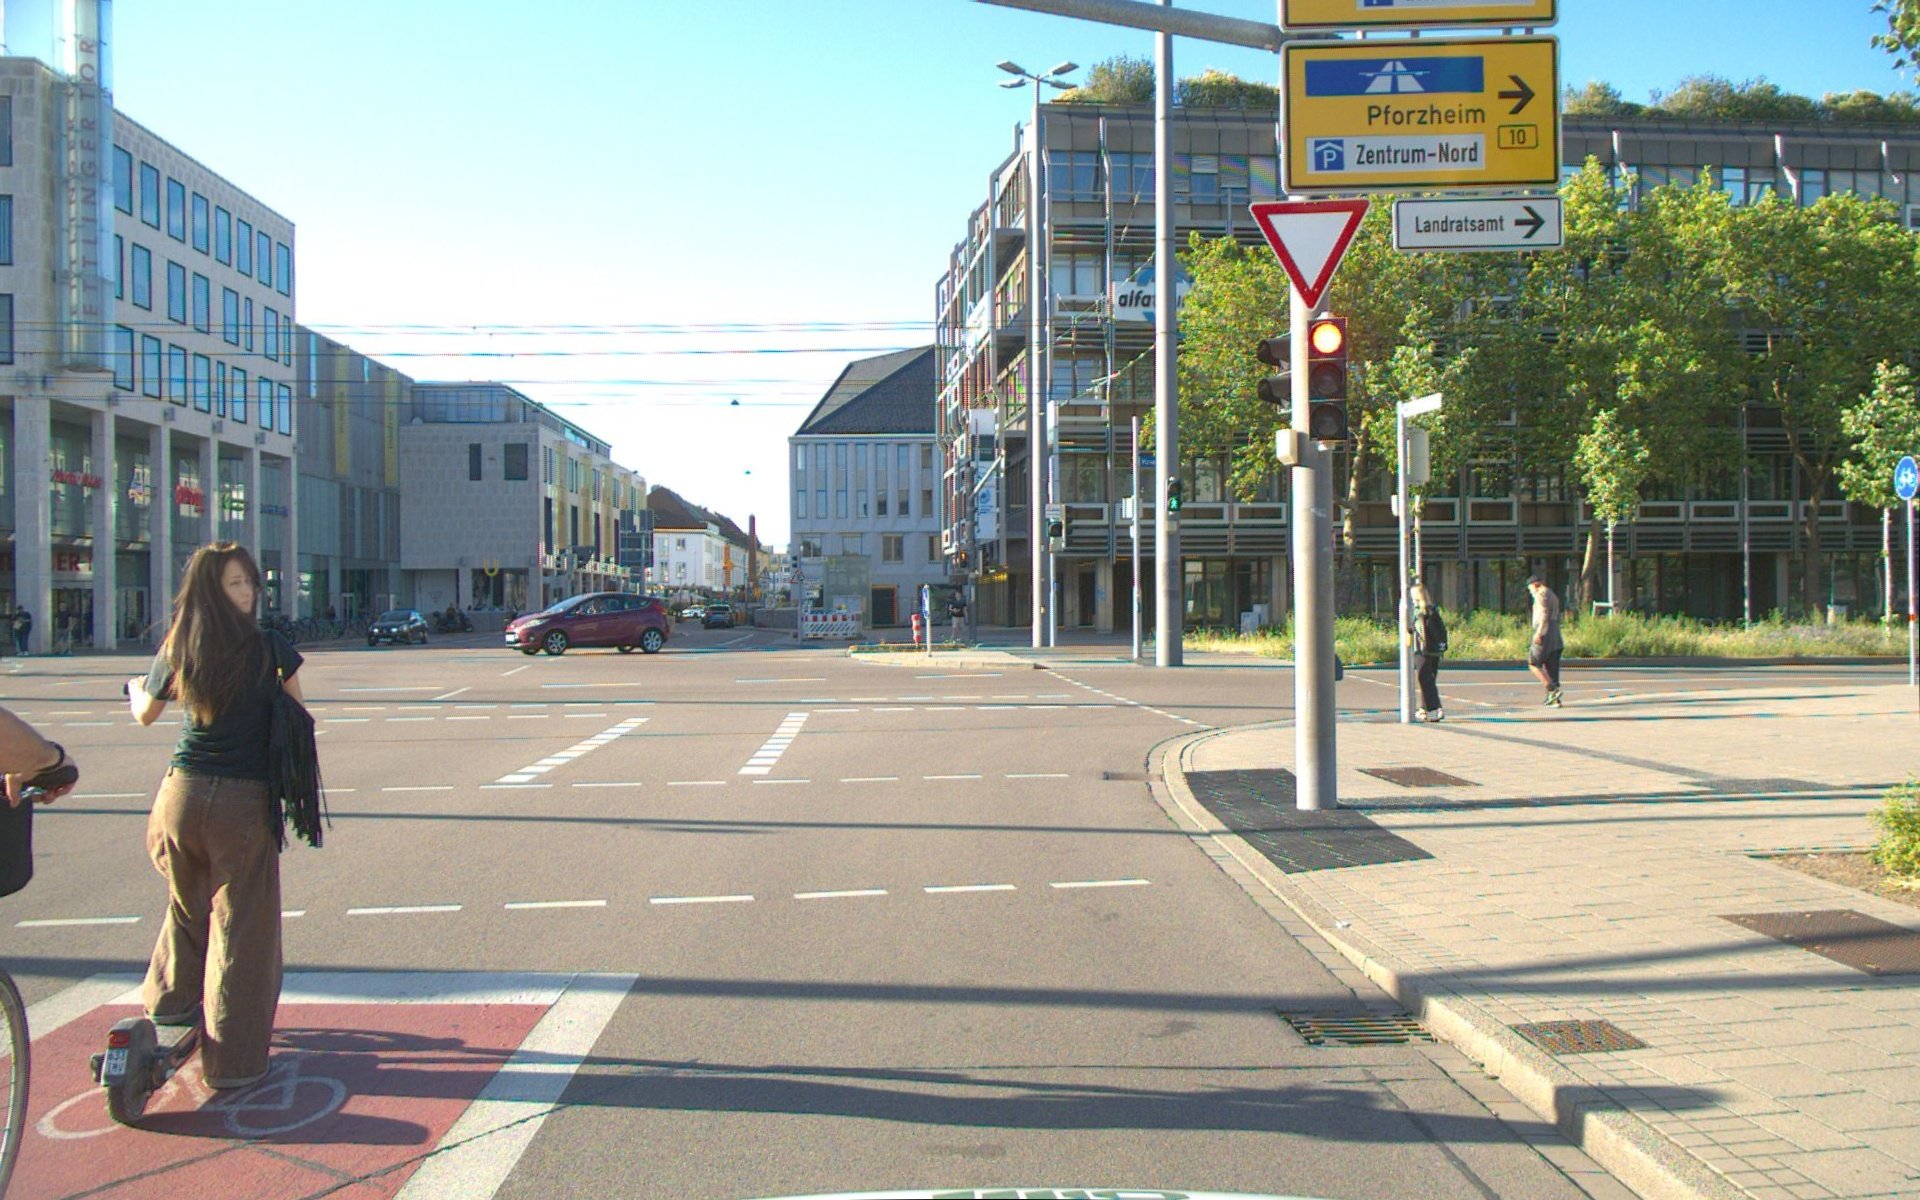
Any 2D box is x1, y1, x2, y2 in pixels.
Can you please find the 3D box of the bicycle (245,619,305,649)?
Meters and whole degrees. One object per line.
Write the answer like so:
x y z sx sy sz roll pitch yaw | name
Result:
-29.291 1.437 70.756 2.260 1.244 0.611 0 0 -3 | bicycle

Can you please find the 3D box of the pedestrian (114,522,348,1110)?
-2.190 0.615 5.026 0.540 1.661 0.569 1 -1 -16 | pedestrian

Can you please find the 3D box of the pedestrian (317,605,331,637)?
-33.814 1.126 87.935 0.560 1.709 0.614 1 0 -10 | pedestrian

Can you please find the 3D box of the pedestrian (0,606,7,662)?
-33.142 1.151 56.739 0.706 1.918 0.780 1 -1 -28 | pedestrian

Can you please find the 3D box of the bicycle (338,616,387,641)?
-30.816 1.473 85.337 2.260 1.244 0.611 0 0 -3 | bicycle

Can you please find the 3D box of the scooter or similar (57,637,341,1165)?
-2.180 0.783 4.859 0.538 1.316 1.189 1 0 -15 | scooter or similar

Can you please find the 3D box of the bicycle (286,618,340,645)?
-30.065 1.450 76.848 2.260 1.244 0.611 0 0 -3 | bicycle

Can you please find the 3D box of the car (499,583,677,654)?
-8.867 0.415 39.538 3.854 1.613 1.638 0 0 -36 | car

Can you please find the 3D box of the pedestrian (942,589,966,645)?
-0.204 0.578 57.296 0.772 1.923 0.644 1 -1 -1 | pedestrian

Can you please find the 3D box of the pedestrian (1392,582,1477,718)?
5.440 0.563 18.992 0.772 1.518 0.644 1 -1 -1 | pedestrian

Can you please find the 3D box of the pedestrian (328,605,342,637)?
-33.316 1.123 88.161 0.544 1.709 0.606 1 0 -11 | pedestrian

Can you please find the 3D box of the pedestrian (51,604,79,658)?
-31.172 1.070 57.603 0.788 1.876 0.854 0 0 -33 | pedestrian

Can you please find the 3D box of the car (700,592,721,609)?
-24.837 0.084 165.010 1.762 1.686 3.996 1 0 -5 | car

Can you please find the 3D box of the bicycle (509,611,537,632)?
-26.172 1.293 98.980 0.500 1.228 1.808 1 0 28 | bicycle

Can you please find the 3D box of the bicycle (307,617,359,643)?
-30.334 1.459 80.050 2.260 1.244 0.611 0 0 -3 | bicycle

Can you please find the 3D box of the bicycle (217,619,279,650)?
-29.334 1.425 68.116 2.260 1.244 0.611 0 0 -3 | bicycle

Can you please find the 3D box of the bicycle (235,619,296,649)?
-29.127 1.434 69.402 2.260 1.244 0.611 0 0 -3 | bicycle

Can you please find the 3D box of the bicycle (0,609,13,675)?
-17.641 0.738 29.109 1.634 1.175 0.490 1 -1 -39 | bicycle

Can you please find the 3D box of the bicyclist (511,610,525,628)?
-26.360 1.136 98.622 0.500 1.103 0.624 1 0 29 | bicyclist

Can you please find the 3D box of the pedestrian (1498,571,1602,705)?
7.666 0.493 21.514 0.865 1.694 0.959 1 -1 -19 | pedestrian

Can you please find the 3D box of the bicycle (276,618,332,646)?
-29.604 1.448 74.697 2.260 1.244 0.611 0 0 -3 | bicycle

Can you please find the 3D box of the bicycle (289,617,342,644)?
-30.714 1.447 78.818 2.260 1.244 0.611 0 0 -3 | bicycle

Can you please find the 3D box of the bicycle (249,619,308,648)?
-29.504 1.437 71.632 2.260 1.244 0.611 0 0 -3 | bicycle

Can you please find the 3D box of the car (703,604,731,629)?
-15.825 1.057 107.945 1.705 1.558 3.849 1 0 -8 | car

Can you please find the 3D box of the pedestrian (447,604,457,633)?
-30.098 1.073 98.078 0.512 1.709 0.581 1 0 -14 | pedestrian

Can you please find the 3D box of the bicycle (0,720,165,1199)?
-2.084 0.867 2.926 0.475 1.176 1.831 1 0 -1 | bicycle

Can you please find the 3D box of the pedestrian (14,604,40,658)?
-32.863 1.078 58.262 0.787 1.876 0.856 0 0 -29 | pedestrian

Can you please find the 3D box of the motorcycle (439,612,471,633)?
-29.761 1.327 97.475 1.775 1.228 0.509 1 0 -16 | motorcycle

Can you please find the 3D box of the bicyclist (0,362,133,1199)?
-1.980 0.463 2.851 0.647 1.750 0.865 1 -1 -1 | bicyclist

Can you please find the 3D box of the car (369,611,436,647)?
-23.378 1.207 69.484 1.597 1.365 3.998 -3 0 -3 | car

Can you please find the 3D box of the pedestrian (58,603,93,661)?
-31.670 1.131 59.232 0.868 2.049 0.771 1 -1 -12 | pedestrian

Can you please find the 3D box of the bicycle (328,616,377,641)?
-30.928 1.467 84.267 2.260 1.244 0.611 0 0 -3 | bicycle
